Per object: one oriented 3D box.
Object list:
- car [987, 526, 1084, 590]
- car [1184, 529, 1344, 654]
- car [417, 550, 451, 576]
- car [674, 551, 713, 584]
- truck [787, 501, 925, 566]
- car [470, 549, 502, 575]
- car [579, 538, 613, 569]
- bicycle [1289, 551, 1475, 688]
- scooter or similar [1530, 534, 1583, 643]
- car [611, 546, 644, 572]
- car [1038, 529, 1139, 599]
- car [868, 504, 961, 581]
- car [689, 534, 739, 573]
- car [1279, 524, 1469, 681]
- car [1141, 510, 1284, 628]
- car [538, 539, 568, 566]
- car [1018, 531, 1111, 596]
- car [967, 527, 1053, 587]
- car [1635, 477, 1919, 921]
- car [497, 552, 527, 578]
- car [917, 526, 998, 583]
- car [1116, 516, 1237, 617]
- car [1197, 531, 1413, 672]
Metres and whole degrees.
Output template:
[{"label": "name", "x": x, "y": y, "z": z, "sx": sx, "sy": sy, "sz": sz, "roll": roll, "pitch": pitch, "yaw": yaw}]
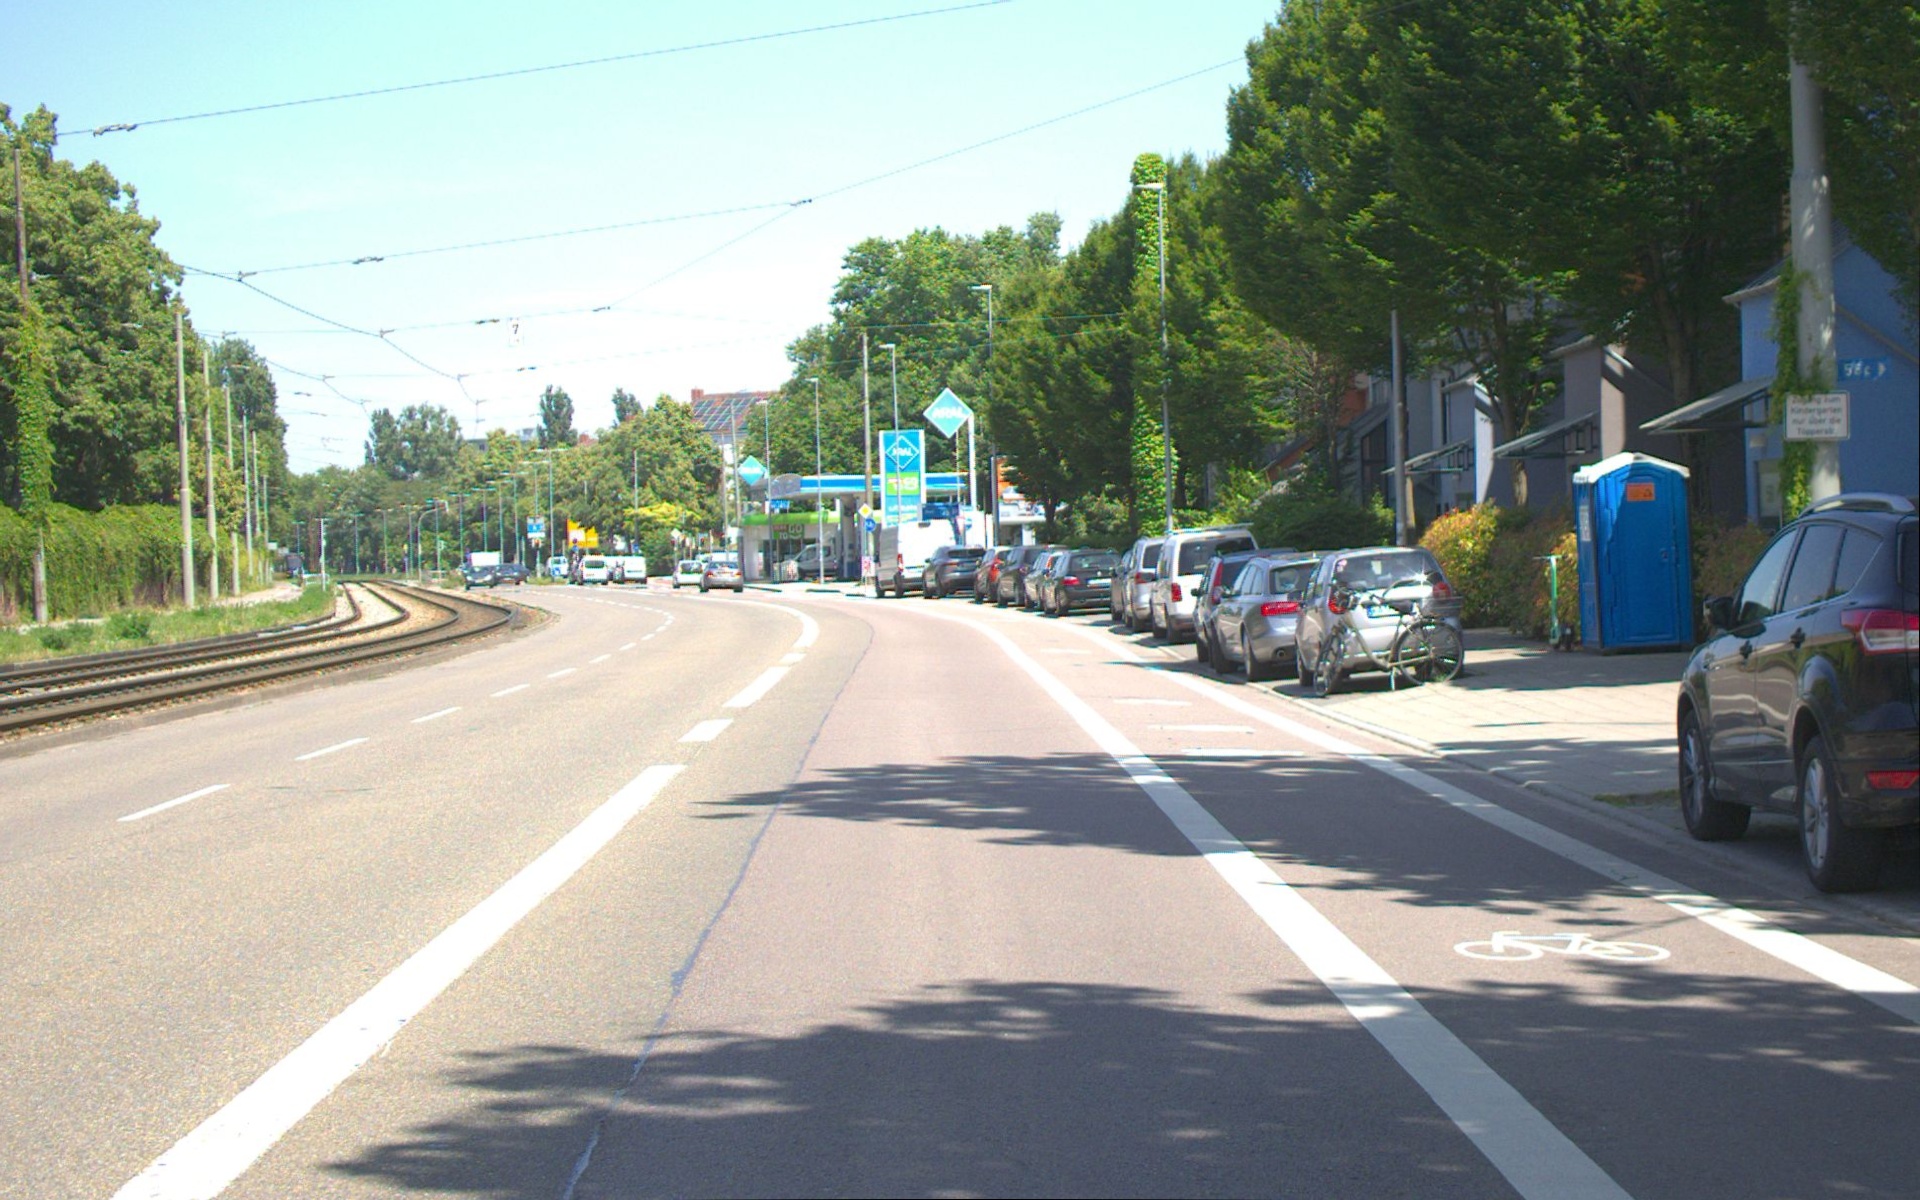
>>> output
[{"label": "car", "x": 1.989, "y": -1.140, "z": 91.990, "sx": 1.706, "sy": 1.557, "sz": 4.325, "roll": -4, "pitch": 1, "yaw": -10}, {"label": "car", "x": 4.178, "y": -0.155, "z": 47.839, "sx": 1.841, "sy": 1.524, "sz": 4.216, "roll": -4, "pitch": 1, "yaw": 1}, {"label": "car", "x": -36.307, "y": -2.562, "z": 237.357, "sx": 1.755, "sy": 1.625, "sz": 4.325, "roll": -4, "pitch": 1, "yaw": -15}, {"label": "car", "x": -14.549, "y": -1.781, "z": 187.718, "sx": 1.755, "sy": 1.625, "sz": 4.325, "roll": -4, "pitch": 1, "yaw": -8}, {"label": "truck", "x": -6.139, "y": -3.901, "z": 201.991, "sx": 7.967, "sy": 3.590, "sz": 2.663, "roll": -2, "pitch": 1, "yaw": -3}, {"label": "car", "x": -29.817, "y": -2.388, "z": 216.308, "sx": 1.755, "sy": 1.504, "sz": 4.325, "roll": -4, "pitch": 1, "yaw": -9}, {"label": "car", "x": -23.206, "y": -2.964, "z": 218.974, "sx": 1.755, "sy": 1.868, "sz": 4.325, "roll": -4, "pitch": 1, "yaw": -9}, {"label": "bicycle", "x": 4.376, "y": 0.194, "z": 35.759, "sx": 1.774, "sy": 1.224, "sz": 0.683, "roll": -6, "pitch": 1, "yaw": 4}, {"label": "scooter or similar", "x": 7.097, "y": -0.152, "z": 40.938, "sx": 0.384, "sy": 1.275, "sz": 1.339, "roll": 0, "pitch": 1, "yaw": -1}, {"label": "car", "x": -21.973, "y": -2.727, "z": 227.289, "sx": 1.755, "sy": 1.625, "sz": 4.325, "roll": -4, "pitch": 1, "yaw": -9}, {"label": "car", "x": 2.989, "y": -0.866, "z": 80.814, "sx": 1.706, "sy": 1.487, "sz": 5.039, "roll": -4, "pitch": 1, "yaw": -4}, {"label": "car", "x": -1.596, "y": -1.964, "z": 117.980, "sx": 2.000, "sy": 2.448, "sz": 6.111, "roll": -4, "pitch": 1, "yaw": -10}, {"label": "car", "x": -11.120, "y": -2.092, "z": 155.400, "sx": 1.755, "sy": 1.625, "sz": 4.325, "roll": -4, "pitch": 1, "yaw": -9}, {"label": "car", "x": 4.497, "y": -0.014, "z": 37.795, "sx": 1.519, "sy": 1.524, "sz": 3.817, "roll": -4, "pitch": 1, "yaw": 0}, {"label": "car", "x": 4.195, "y": -0.550, "z": 57.777, "sx": 1.840, "sy": 1.787, "sz": 4.354, "roll": -4, "pitch": 1, "yaw": -2}, {"label": "car", "x": -26.426, "y": -3.106, "z": 223.178, "sx": 1.755, "sy": 1.625, "sz": 4.325, "roll": -4, "pitch": 1, "yaw": -8}, {"label": "car", "x": 2.610, "y": -0.951, "z": 86.799, "sx": 1.706, "sy": 1.487, "sz": 4.732, "roll": -4, "pitch": 1, "yaw": -5}, {"label": "car", "x": 1.401, "y": -1.241, "z": 97.903, "sx": 1.706, "sy": 1.557, "sz": 4.325, "roll": -4, "pitch": 1, "yaw": -8}, {"label": "car", "x": 4.511, "y": 0.299, "z": 15.876, "sx": 1.841, "sy": 1.700, "sz": 4.626, "roll": -4, "pitch": 1, "yaw": 1}, {"label": "car", "x": -30.427, "y": -2.404, "z": 233.592, "sx": 1.755, "sy": 1.625, "sz": 4.325, "roll": -4, "pitch": 1, "yaw": -9}, {"label": "car", "x": -0.101, "y": -1.439, "z": 107.874, "sx": 1.755, "sy": 1.625, "sz": 4.325, "roll": -4, "pitch": 1, "yaw": -9}, {"label": "car", "x": 3.983, "y": -0.660, "z": 63.960, "sx": 1.840, "sy": 1.688, "sz": 4.779, "roll": -4, "pitch": 1, "yaw": 0}, {"label": "car", "x": 4.222, "y": -0.028, "z": 42.804, "sx": 1.840, "sy": 1.524, "sz": 4.967, "roll": -4, "pitch": 1, "yaw": -3}]
